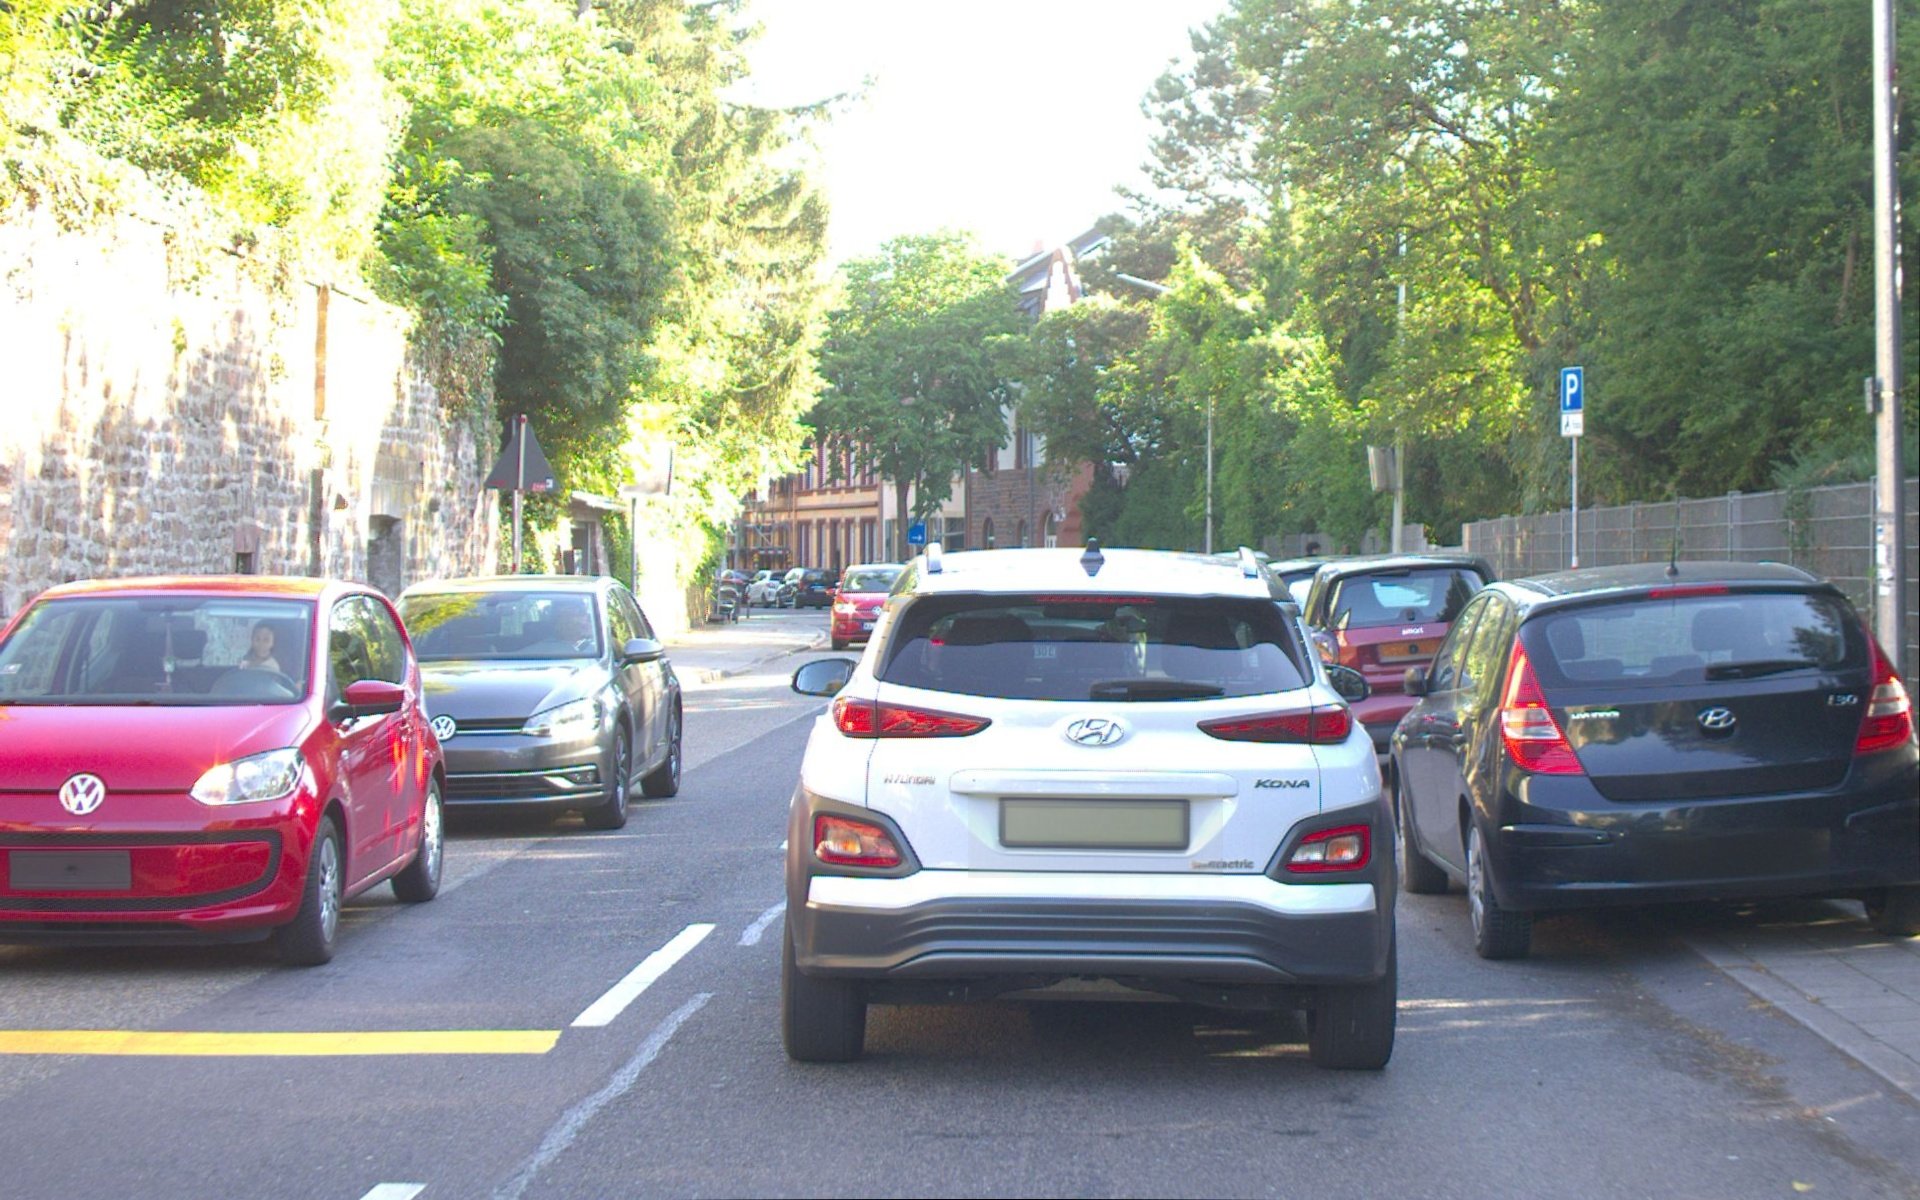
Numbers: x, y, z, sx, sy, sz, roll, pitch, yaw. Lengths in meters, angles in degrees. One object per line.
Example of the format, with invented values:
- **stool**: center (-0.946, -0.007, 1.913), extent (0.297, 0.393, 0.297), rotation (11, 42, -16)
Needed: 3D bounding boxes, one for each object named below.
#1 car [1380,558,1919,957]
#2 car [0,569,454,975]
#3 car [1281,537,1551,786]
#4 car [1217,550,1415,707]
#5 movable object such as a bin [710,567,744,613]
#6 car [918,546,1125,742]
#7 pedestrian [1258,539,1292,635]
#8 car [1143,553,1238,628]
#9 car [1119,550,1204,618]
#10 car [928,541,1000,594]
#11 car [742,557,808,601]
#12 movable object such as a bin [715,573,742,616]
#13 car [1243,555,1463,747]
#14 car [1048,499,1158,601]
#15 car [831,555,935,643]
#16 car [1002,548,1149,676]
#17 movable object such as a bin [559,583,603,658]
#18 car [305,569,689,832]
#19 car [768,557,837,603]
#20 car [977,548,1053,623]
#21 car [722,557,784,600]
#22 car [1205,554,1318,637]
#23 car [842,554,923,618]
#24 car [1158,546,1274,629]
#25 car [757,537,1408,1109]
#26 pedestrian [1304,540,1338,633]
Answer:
- **car**: center (2.838, 0.545, 14.469), extent (1.794, 1.436, 4.000), rotation (0, 1, 2)
- **car**: center (-3.143, 0.592, 13.893), extent (1.627, 1.417, 3.563), rotation (0, 1, 1)
- **car**: center (3.195, 0.409, 24.514), extent (1.653, 1.559, 2.872), rotation (-4, 0, 5)
- **car**: center (3.538, 0.256, 34.584), extent (1.624, 1.504, 2.904), rotation (0, 1, -1)
- **movable object such as a bin**: center (-6.211, -0.261, 91.557), extent (0.792, 1.185, 0.773), rotation (2, 0, 1)
- **car**: center (0.566, 0.318, 28.841), extent (1.512, 1.528, 3.547), rotation (0, 1, 5)
- **pedestrian**: center (5.365, -0.222, 58.596), extent (0.503, 1.601, 0.491), rotation (-2, 0, 3)
- **car**: center (4.928, -0.206, 73.839), extent (1.593, 1.514, 3.933), rotation (-2, 0, -2)
- **car**: center (4.651, -0.391, 79.616), extent (1.593, 1.484, 3.602), rotation (-2, 1, -2)
- **car**: center (0.102, -0.869, 92.372), extent (1.589, 1.381, 3.361), rotation (0, 1, -6)
- **car**: center (-7.256, -0.833, 134.654), extent (1.755, 1.611, 4.001), rotation (1, 1, -15)
- **movable object such as a bin**: center (-5.475, -0.136, 81.473), extent (0.495, 1.008, 1.112), rotation (2, 0, 2)
- **car**: center (3.384, 0.385, 30.279), extent (1.711, 1.492, 4.813), rotation (2, 1, 5)
- **car**: center (2.412, -0.864, 57.400), extent (1.694, 1.527, 3.881), rotation (-3, 2, 3)
- **car**: center (-1.339, -0.040, 60.636), extent (1.550, 1.461, 3.568), rotation (-1, 1, 3)
- **car**: center (1.450, 0.117, 42.068), extent (1.571, 1.472, 3.547), rotation (1, 1, 5)
- **movable object such as a bin**: center (-4.978, 0.266, 45.172), extent (0.490, 0.961, 0.583), rotation (2, 1, 0)
- **car**: center (-2.660, 0.528, 20.557), extent (1.649, 1.406, 3.930), rotation (0, 1, 2)
- **car**: center (-5.954, -0.780, 129.865), extent (1.755, 1.611, 4.001), rotation (1, 1, -15)
- **car**: center (1.191, -0.318, 73.738), extent (1.589, 1.577, 3.361), rotation (0, 1, 2)
- **car**: center (-8.437, -0.883, 139.843), extent (1.755, 1.611, 4.001), rotation (1, 1, -15)
- **car**: center (5.516, -0.106, 63.246), extent (1.686, 1.426, 4.000), rotation (-2, 1, 0)
- **car**: center (-1.956, -0.333, 85.783), extent (1.741, 1.469, 4.000), rotation (-3, 0, -4)
- **car**: center (5.079, -0.254, 68.628), extent (1.593, 1.560, 4.001), rotation (-2, 0, -6)
- **car**: center (0.521, 0.590, 11.469), extent (1.772, 1.537, 3.999), rotation (1, 1, 6)
- **pedestrian**: center (6.175, -0.234, 58.892), extent (0.503, 1.564, 0.503), rotation (-2, 0, 3)
